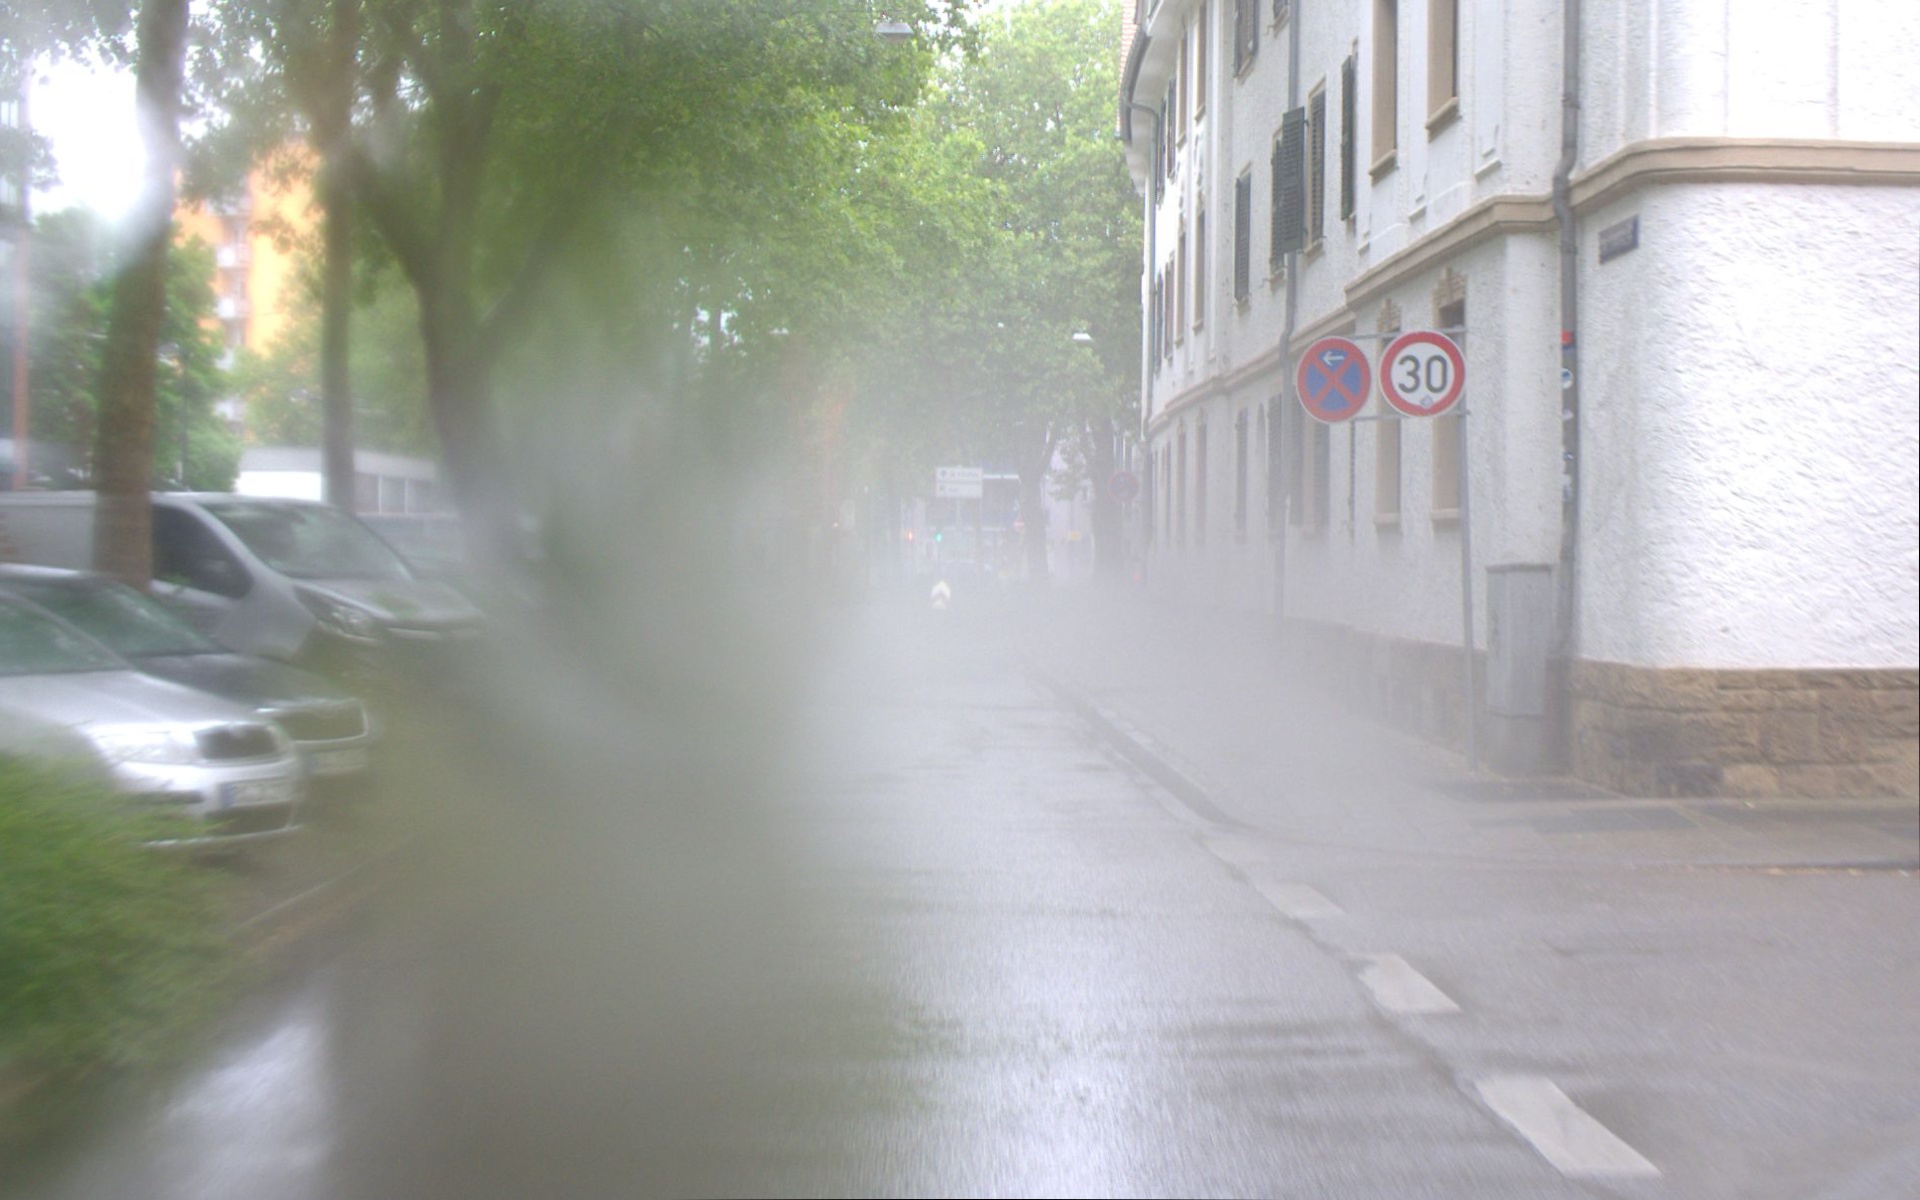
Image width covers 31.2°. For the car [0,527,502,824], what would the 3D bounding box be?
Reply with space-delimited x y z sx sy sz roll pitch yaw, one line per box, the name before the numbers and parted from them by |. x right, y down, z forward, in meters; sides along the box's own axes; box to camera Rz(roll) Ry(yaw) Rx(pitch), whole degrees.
car | -4.858 0.340 19.163 4.308 1.432 1.745 2 2 26

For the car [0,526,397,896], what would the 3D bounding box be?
car | -4.823 0.411 15.922 4.061 1.494 1.745 2 2 23

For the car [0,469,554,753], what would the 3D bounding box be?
car | -5.790 0.062 26.064 5.123 1.970 2.099 0 1 30

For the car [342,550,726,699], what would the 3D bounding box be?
car | -4.585 0.245 36.869 3.811 1.516 1.719 0 1 30

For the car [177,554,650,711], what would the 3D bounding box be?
car | -5.507 0.303 34.501 4.553 1.477 1.772 0 1 29

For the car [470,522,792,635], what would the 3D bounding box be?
car | -4.958 -0.349 51.672 4.464 1.591 1.921 1 2 26
